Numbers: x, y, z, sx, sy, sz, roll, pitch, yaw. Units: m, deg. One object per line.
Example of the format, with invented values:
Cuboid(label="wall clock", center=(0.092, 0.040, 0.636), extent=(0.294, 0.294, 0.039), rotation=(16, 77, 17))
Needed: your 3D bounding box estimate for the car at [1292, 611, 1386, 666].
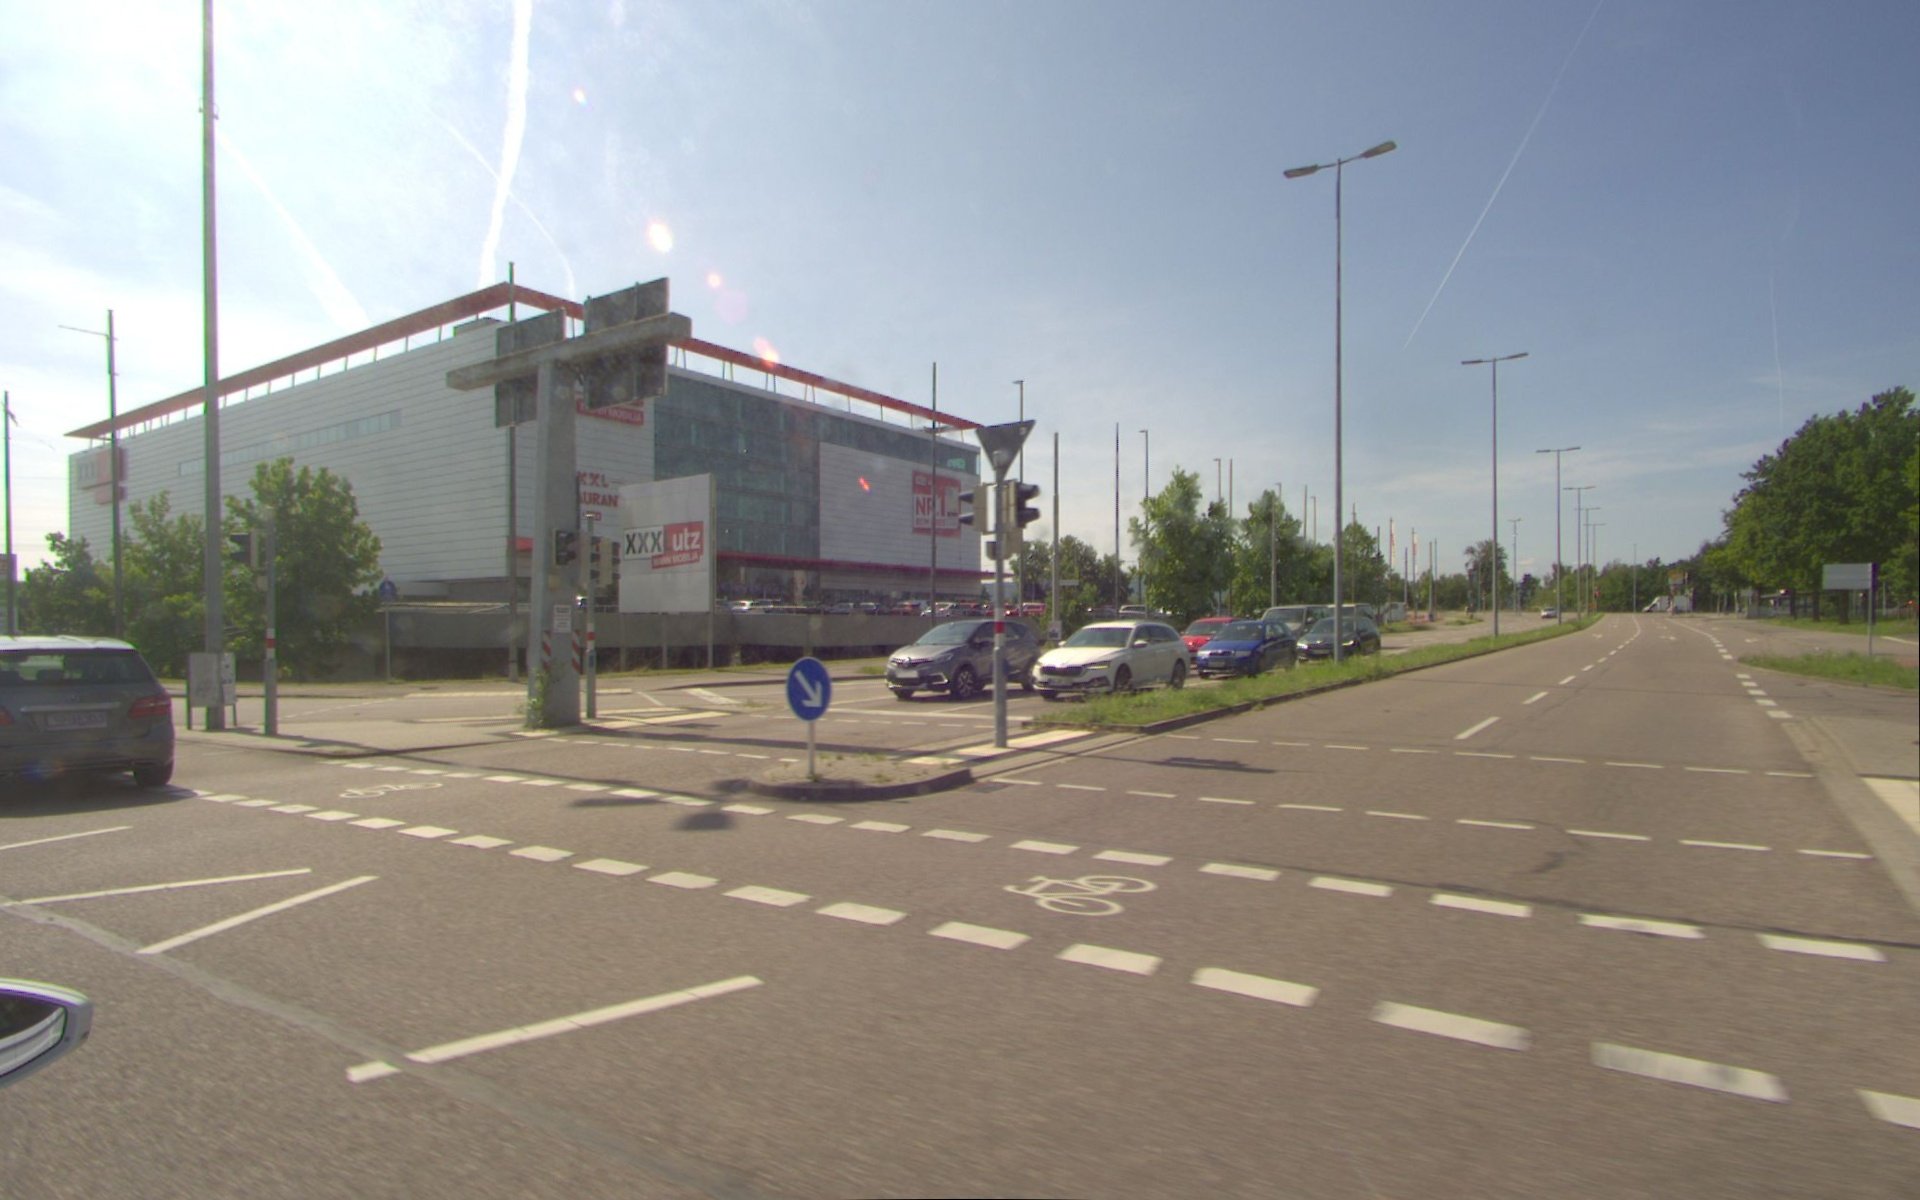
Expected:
Cuboid(label="car", center=(12.116, 1.192, 31.878), extent=(1.663, 1.641, 4.103), rotation=(-1, -2, 38))

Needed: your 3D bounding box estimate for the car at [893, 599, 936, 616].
Cuboid(label="car", center=(-4.626, 0.754, 101.487), extent=(4.144, 1.641, 1.680), rotation=(-1, -1, 35))

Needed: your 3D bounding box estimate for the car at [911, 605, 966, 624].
Cuboid(label="car", center=(-1.708, 1.140, 79.080), extent=(4.144, 1.438, 1.680), rotation=(-1, -1, 35))

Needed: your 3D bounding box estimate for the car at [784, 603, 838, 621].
Cuboid(label="car", center=(-12.023, 0.985, 80.694), extent=(4.144, 1.438, 1.895), rotation=(-1, -1, 35))

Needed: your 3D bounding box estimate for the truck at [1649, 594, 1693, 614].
Cuboid(label="truck", center=(120.008, 0.720, 169.137), extent=(5.892, 3.064, 1.991), rotation=(-2, -4, 32))

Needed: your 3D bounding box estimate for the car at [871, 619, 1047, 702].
Cuboid(label="car", center=(0.068, 1.209, 21.254), extent=(1.785, 1.578, 3.872), rotation=(-1, -2, 37))

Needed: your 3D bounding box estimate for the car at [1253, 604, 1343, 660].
Cuboid(label="car", center=(13.080, 1.230, 38.552), extent=(1.937, 2.001, 4.659), rotation=(-3, -2, 36))

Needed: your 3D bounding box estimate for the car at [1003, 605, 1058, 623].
Cuboid(label="car", center=(5.669, 1.119, 80.385), extent=(4.051, 1.438, 1.784), rotation=(-1, -1, 33))

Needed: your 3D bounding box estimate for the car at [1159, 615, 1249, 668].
Cuboid(label="car", center=(7.730, 1.269, 31.559), extent=(1.578, 1.596, 3.459), rotation=(0, -1, 37))

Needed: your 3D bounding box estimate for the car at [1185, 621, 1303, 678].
Cuboid(label="car", center=(7.407, 1.240, 25.843), extent=(1.701, 1.359, 4.033), rotation=(-2, -2, 35))

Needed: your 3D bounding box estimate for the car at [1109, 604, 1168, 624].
Cuboid(label="car", center=(13.612, 1.094, 76.627), extent=(4.144, 1.438, 1.680), rotation=(-1, -1, 35))

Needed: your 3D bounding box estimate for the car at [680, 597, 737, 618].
Cuboid(label="car", center=(-18.166, 0.543, 72.242), extent=(3.951, 1.438, 1.795), rotation=(-1, -1, 33))

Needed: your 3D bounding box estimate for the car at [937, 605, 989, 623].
Cuboid(label="car", center=(0.247, 1.124, 80.943), extent=(3.956, 1.438, 1.735), rotation=(-1, -1, 36))

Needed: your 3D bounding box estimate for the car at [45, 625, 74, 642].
Cuboid(label="car", center=(-100.604, 3.759, 111.884), extent=(4.041, 1.774, 1.667), rotation=(0, -2, 37))

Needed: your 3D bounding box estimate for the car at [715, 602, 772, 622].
Cuboid(label="car", center=(-16.073, 0.934, 74.127), extent=(4.144, 1.438, 1.827), rotation=(-1, -1, 35))

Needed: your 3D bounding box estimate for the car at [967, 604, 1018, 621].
Cuboid(label="car", center=(2.768, 1.079, 85.134), extent=(4.144, 1.438, 1.680), rotation=(-1, -1, 35))

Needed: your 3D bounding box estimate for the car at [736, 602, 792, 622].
Cuboid(label="car", center=(-15.032, 0.933, 76.796), extent=(4.144, 1.438, 1.867), rotation=(-1, -1, 35))

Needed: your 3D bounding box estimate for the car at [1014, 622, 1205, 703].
Cuboid(label="car", center=(3.192, 1.195, 20.485), extent=(1.933, 1.444, 4.702), rotation=(-2, -2, 36))

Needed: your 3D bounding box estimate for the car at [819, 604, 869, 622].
Cuboid(label="car", center=(-9.805, 1.099, 84.515), extent=(4.143, 1.438, 1.800), rotation=(-1, -1, 35))

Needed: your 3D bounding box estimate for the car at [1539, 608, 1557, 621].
Cuboid(label="car", center=(78.209, 1.907, 133.179), extent=(1.858, 1.706, 3.976), rotation=(-1, 0, 34))

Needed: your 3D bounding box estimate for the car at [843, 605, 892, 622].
Cuboid(label="car", center=(-7.969, 1.172, 86.331), extent=(4.144, 1.438, 1.731), rotation=(-1, -1, 35))

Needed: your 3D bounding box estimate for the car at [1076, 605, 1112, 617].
Cuboid(label="car", center=(16.622, 1.428, 124.584), extent=(4.144, 1.438, 1.680), rotation=(-1, -1, 35))

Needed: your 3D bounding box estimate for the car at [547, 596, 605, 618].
Cuboid(label="car", center=(-26.487, 0.506, 68.970), extent=(4.144, 1.438, 1.766), rotation=(-1, -1, 35))

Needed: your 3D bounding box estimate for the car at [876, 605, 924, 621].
Cuboid(label="car", center=(-5.452, 1.227, 90.776), extent=(4.144, 1.438, 1.784), rotation=(-1, -1, 35))

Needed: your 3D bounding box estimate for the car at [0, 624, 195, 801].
Cuboid(label="car", center=(-9.772, 1.071, 10.482), extent=(4.085, 1.558, 1.768), rotation=(-2, -3, 37))

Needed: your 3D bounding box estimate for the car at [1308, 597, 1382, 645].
Cuboid(label="car", center=(17.013, 0.942, 44.143), extent=(1.889, 1.960, 4.761), rotation=(-2, -2, 36))
